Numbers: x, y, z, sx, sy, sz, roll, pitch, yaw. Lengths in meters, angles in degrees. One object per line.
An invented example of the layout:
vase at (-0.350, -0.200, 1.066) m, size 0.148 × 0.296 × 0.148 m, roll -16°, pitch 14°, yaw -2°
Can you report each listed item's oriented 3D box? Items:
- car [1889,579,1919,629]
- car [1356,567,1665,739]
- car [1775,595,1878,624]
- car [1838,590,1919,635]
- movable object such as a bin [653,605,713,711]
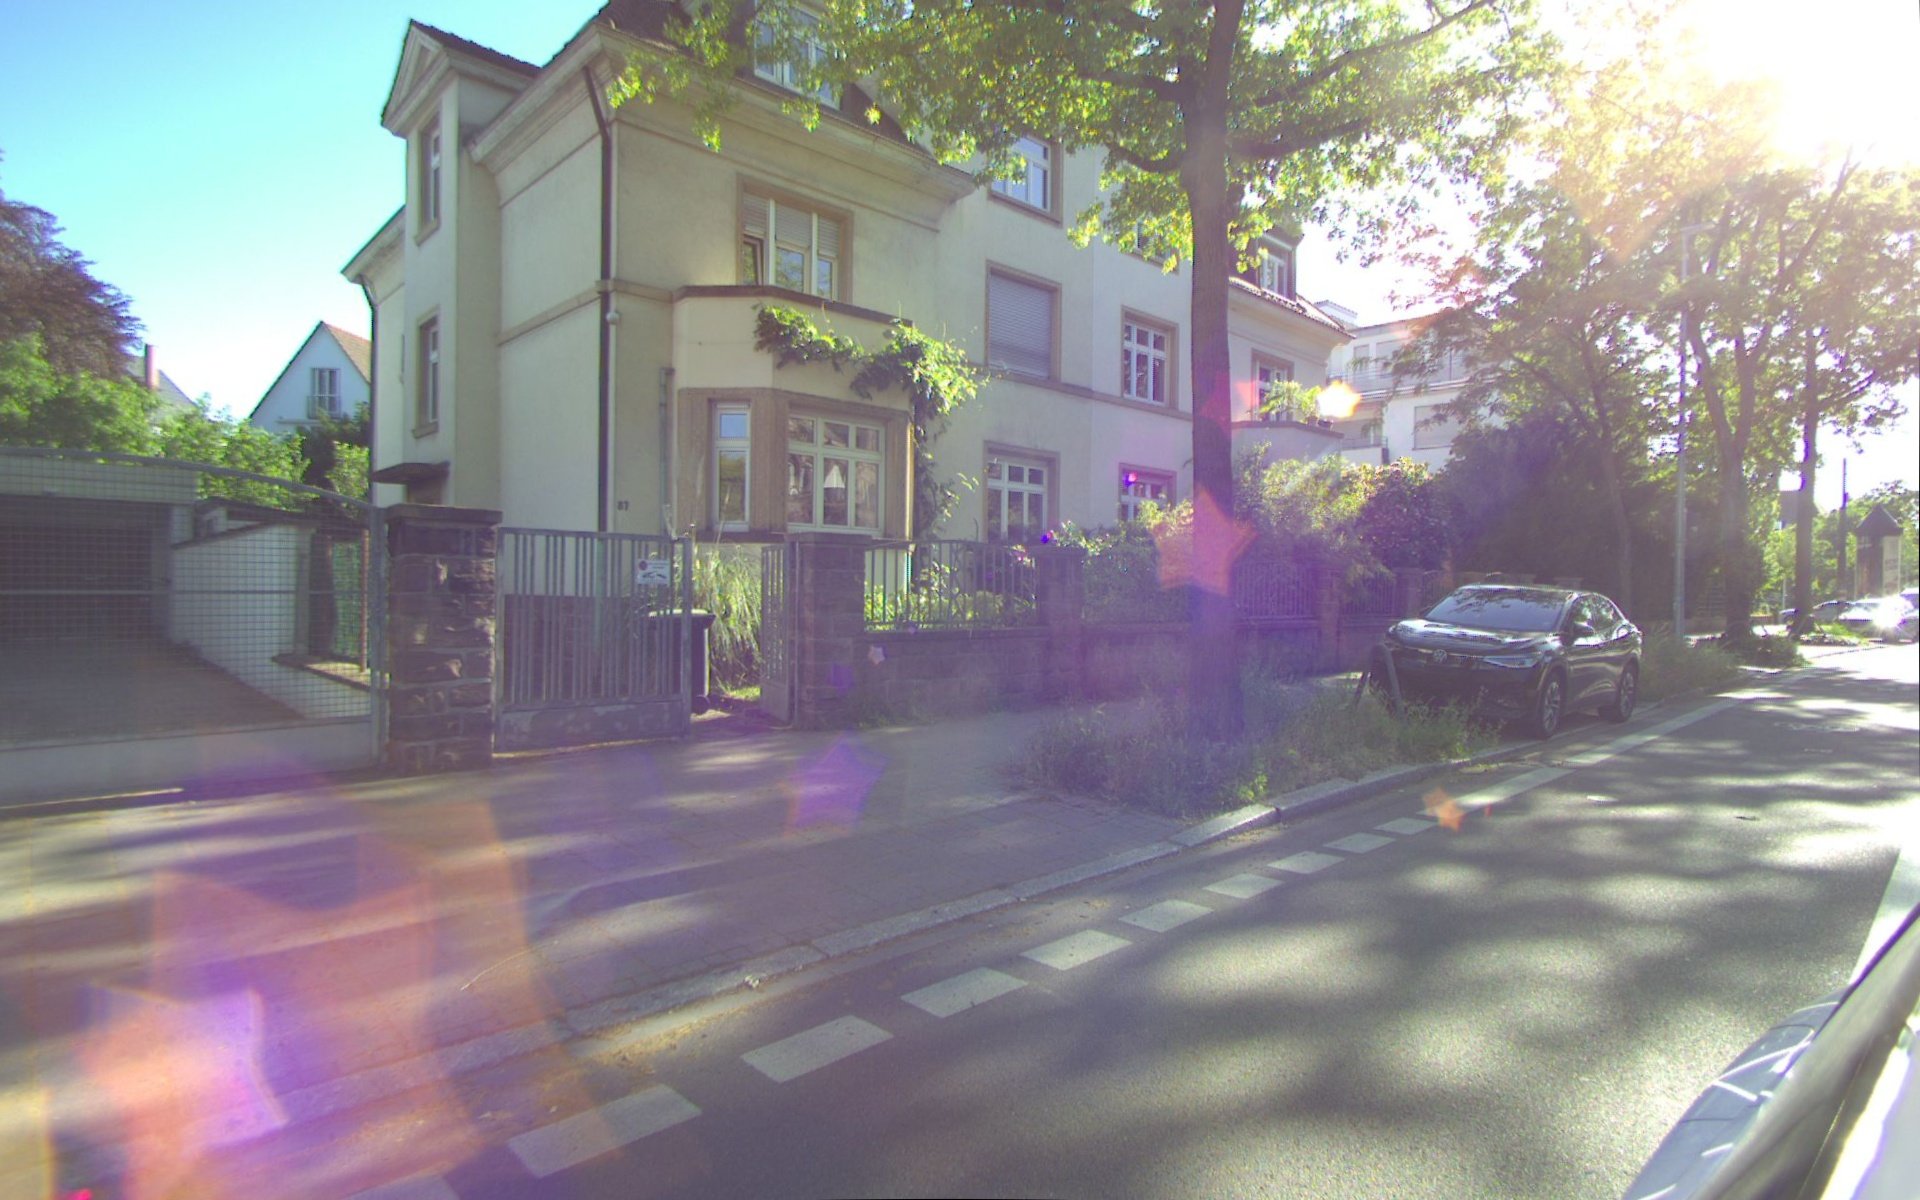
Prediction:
car at (36.666, 0.138, 37.857) m, size 4.580 × 1.808 × 1.903 m, roll 0°, pitch 1°, yaw -35°
car at (6.704, 0.501, 12.138) m, size 4.186 × 1.619 × 1.917 m, roll 0°, pitch 4°, yaw -42°
car at (46.060, 0.467, 53.841) m, size 1.784 × 1.459 × 3.990 m, roll 0°, pitch 1°, yaw -44°
car at (31.506, 0.390, 34.275) m, size 4.181 × 1.427 × 1.901 m, roll 0°, pitch 1°, yaw -38°
movable object such as a bin at (-2.928, 0.589, 10.672) m, size 0.551 × 1.062 × 0.676 m, roll 0°, pitch 0°, yaw -20°
